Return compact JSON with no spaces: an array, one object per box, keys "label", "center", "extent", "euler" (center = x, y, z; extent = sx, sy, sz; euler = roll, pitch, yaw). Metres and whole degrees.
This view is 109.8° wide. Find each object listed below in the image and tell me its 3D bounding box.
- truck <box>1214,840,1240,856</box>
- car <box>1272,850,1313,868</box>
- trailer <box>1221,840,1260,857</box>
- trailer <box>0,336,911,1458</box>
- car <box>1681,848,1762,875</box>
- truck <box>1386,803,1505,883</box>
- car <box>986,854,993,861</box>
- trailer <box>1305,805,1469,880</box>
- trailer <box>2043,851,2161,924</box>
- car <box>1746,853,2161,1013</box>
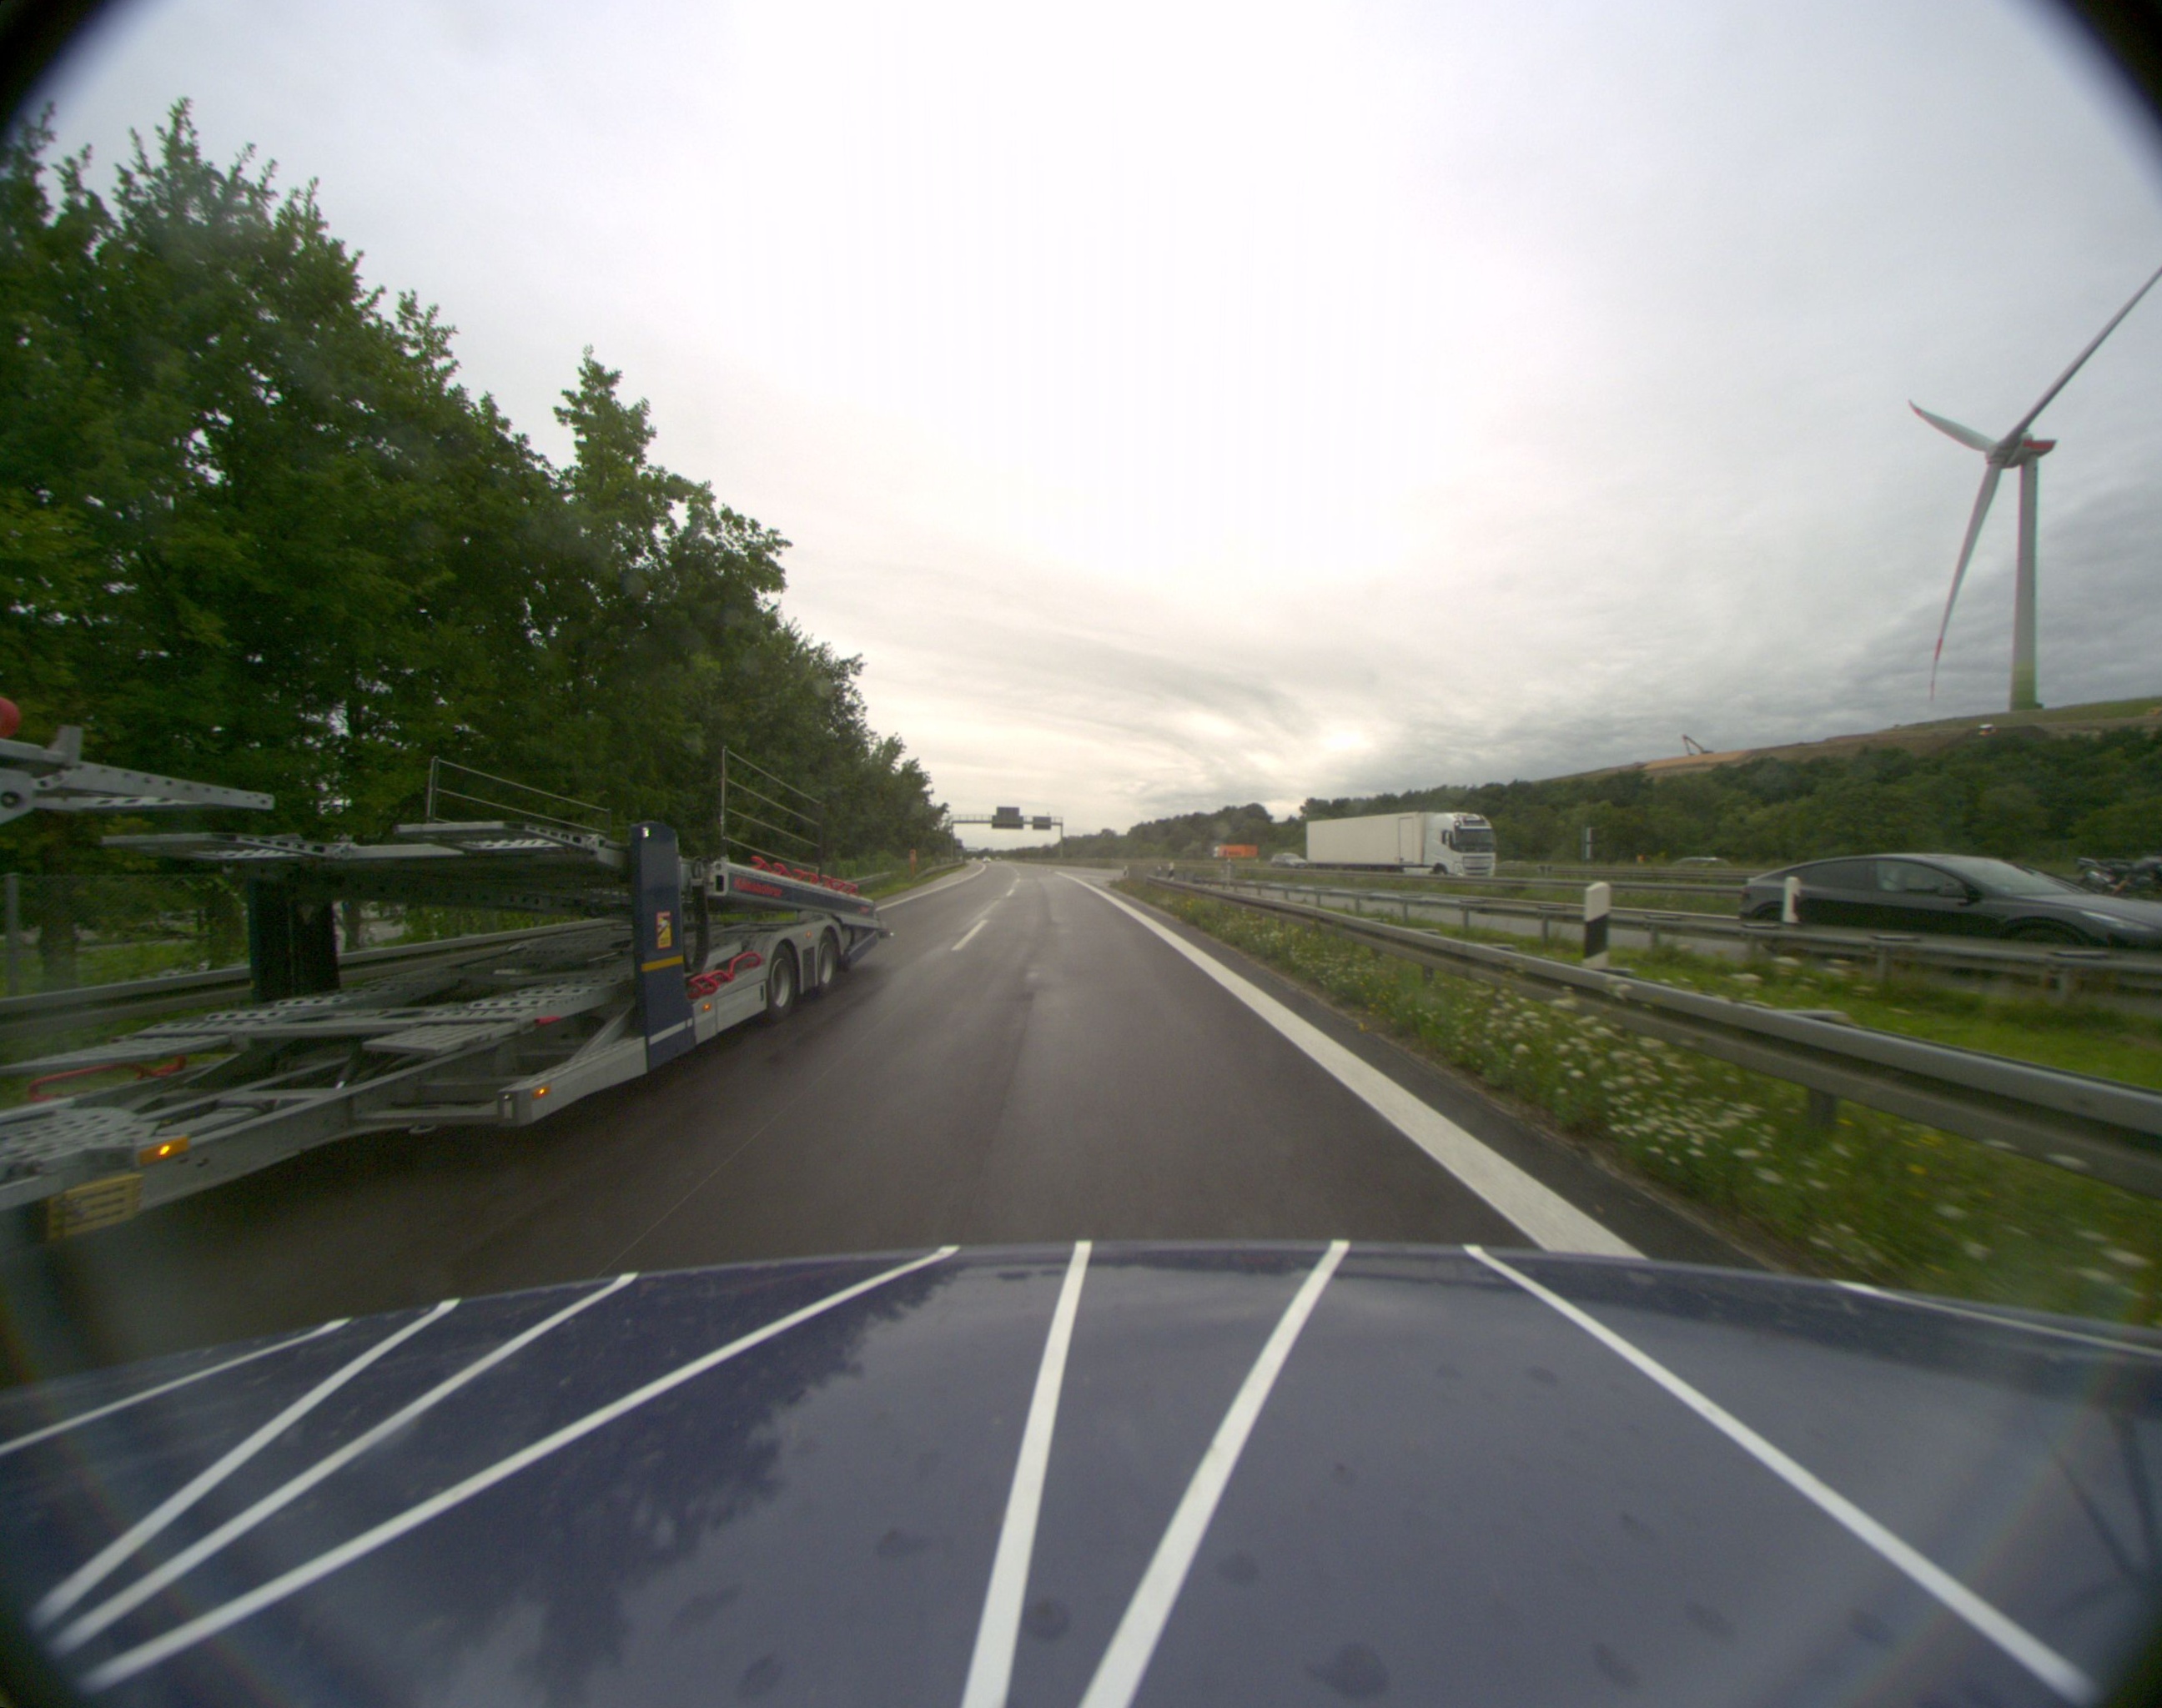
[{"label":"truck","center":[29.174,-1.168,152.119],"extent":[2.694,3.056,6.448],"euler":[-1,1,-11]},{"label":"car","center":[19.895,0.475,71.501],"extent":[1.905,1.641,4.480],"euler":[-1,0,-11]},{"label":"trailer","center":[30.450,-1.087,145.579],"extent":[2.694,3.056,12.552],"euler":[-1,1,-11]},{"label":"trailer","center":[-4.192,0.142,7.399],"extent":[2.785,3.266,10.405],"euler":[-1,0,-1]},{"label":"car","center":[43.340,0.459,51.495],"extent":[1.857,1.718,3.997],"euler":[-1,1,-7]},{"label":"truck","center":[20.174,-0.606,42.529],"extent":[2.775,4.111,6.439],"euler":[-1,1,-10]},{"label":"car","center":[-24.500,0.939,203.535],"extent":[1.631,1.632,3.772],"euler":[-1,1,-12]},{"label":"trailer","center":[19.002,-0.687,48.933],"extent":[2.775,4.111,13.937],"euler":[-1,0,-10]},{"label":"trailer","center":[25.406,0.768,17.475],"extent":[1.888,1.617,3.607],"euler":[-1,1,-10]},{"label":"car","center":[12.214,0.851,10.335],"extent":[1.968,1.628,4.549],"euler":[-1,1,-10]}]
